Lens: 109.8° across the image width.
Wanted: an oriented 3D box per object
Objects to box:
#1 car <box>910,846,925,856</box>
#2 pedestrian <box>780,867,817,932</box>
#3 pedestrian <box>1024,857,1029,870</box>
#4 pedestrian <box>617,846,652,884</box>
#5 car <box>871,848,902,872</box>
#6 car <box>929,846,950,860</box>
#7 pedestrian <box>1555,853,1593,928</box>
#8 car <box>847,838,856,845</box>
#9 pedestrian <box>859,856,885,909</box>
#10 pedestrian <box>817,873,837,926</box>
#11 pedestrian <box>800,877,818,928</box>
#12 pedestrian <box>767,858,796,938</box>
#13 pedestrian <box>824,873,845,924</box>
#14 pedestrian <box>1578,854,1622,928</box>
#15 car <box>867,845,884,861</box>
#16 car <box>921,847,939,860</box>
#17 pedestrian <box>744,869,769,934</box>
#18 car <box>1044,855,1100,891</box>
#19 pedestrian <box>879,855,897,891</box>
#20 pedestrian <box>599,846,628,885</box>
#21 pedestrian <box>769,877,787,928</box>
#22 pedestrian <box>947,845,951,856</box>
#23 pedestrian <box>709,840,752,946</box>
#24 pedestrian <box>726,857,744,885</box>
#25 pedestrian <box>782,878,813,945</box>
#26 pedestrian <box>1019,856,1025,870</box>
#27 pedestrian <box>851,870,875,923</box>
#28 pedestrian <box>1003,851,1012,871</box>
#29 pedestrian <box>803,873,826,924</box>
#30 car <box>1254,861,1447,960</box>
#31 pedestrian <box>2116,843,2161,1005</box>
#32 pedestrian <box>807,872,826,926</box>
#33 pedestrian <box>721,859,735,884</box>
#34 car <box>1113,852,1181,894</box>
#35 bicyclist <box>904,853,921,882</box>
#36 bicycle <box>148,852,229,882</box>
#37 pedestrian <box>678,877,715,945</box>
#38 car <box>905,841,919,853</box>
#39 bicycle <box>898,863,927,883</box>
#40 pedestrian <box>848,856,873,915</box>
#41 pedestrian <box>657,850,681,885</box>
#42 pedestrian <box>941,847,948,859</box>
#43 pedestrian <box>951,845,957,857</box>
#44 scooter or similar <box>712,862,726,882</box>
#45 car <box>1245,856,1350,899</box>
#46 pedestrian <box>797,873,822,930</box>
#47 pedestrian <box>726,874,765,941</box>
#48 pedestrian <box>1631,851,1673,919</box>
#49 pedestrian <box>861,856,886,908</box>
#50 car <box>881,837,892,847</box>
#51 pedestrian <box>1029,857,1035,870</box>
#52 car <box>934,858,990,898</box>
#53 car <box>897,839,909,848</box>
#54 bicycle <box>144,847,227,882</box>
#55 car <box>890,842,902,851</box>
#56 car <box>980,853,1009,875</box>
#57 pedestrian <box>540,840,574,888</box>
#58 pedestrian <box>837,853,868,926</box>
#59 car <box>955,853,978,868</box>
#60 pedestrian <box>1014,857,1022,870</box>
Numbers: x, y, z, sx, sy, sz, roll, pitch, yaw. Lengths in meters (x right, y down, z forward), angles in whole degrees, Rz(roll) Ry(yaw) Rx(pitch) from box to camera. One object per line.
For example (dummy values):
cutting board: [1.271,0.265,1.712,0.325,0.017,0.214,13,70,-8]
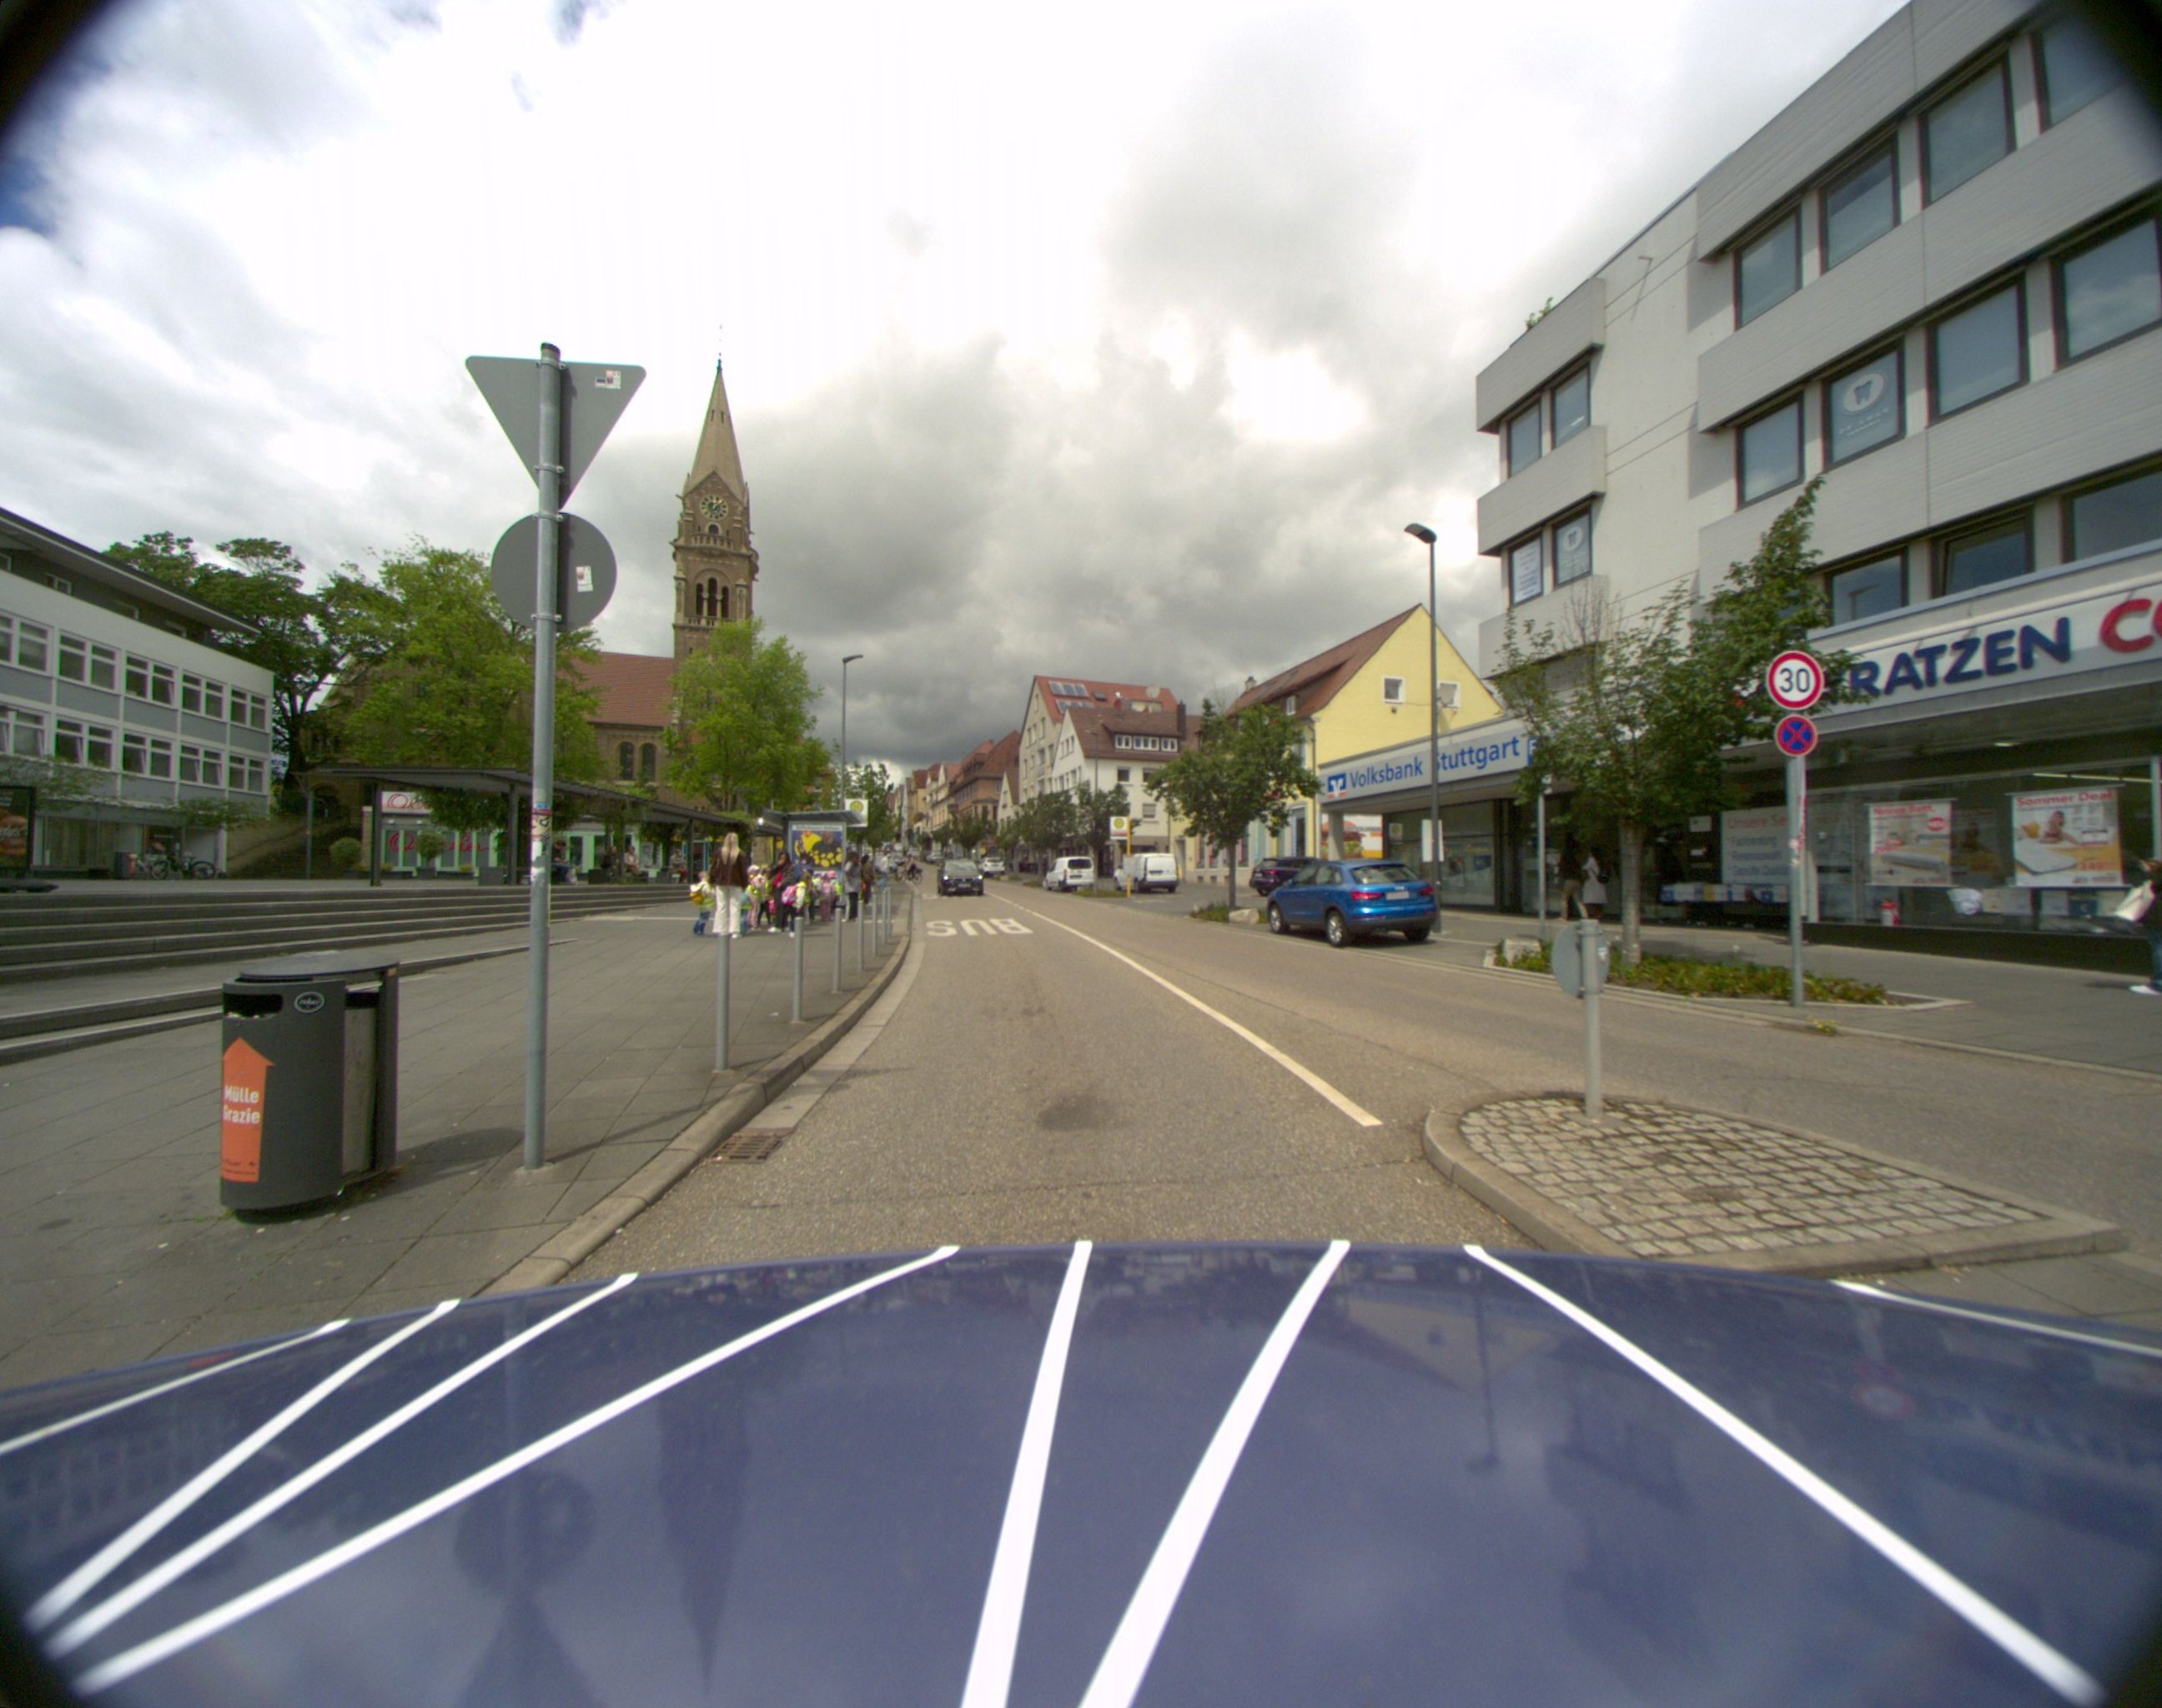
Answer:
car: [-24.203,-0.431,112.477,1.735,1.423,3.496,0,2,-19]
pedestrian: [-5.811,0.924,15.626,0.597,1.296,0.434,3,1,44]
pedestrian: [-5.083,0.858,70.773,0.396,1.242,0.499,-1,1,-18]
pedestrian: [-14.874,0.361,25.326,0.769,1.261,0.677,0,0,25]
car: [-15.041,0.449,58.644,1.936,1.714,4.565,1,0,-19]
car: [-17.253,-0.093,92.557,1.732,1.564,4.446,0,2,-20]
pedestrian: [10.580,0.775,16.326,0.643,1.557,0.588,1,0,33]
car: [-46.867,-2.507,155.303,1.693,1.366,3.522,1,2,-19]
pedestrian: [-6.164,0.823,22.400,0.542,1.540,0.487,1,0,31]
pedestrian: [-5.668,1.017,16.954,0.270,1.154,0.265,2,0,36]
pedestrian: [-5.853,1.043,16.357,0.252,1.062,0.251,2,0,4]
pedestrian: [-5.751,0.839,14.607,0.391,1.508,0.389,2,0,-6]
pedestrian: [-5.609,1.013,17.300,0.297,1.145,0.294,2,0,29]
pedestrian: [11.272,0.796,16.511,0.512,1.557,0.586,1,0,-12]
car: [-24.626,-0.137,91.193,1.892,1.837,5.022,1,1,-14]
car: [-19.819,-0.117,99.451,1.671,1.518,3.955,-2,2,-20]
pedestrian: [-6.330,0.922,14.827,0.324,1.230,0.334,3,0,-9]
car: [-0.520,0.898,38.189,1.663,1.662,4.344,-1,0,-16]
pedestrian: [-8.992,0.887,35.420,0.686,1.672,0.714,1,0,-2]
pedestrian: [-15.016,0.374,24.399,0.569,1.220,0.566,0,0,-3]
pedestrian: [-6.391,1.026,16.038,0.251,1.062,0.252,2,0,-2]
pedestrian: [-17.202,-0.431,99.159,0.498,1.469,0.527,0,2,-20]
pedestrian: [-6.131,0.679,13.300,0.541,1.812,0.435,2,0,-13]
pedestrian: [-15.642,0.771,34.378,0.570,1.254,0.541,1,-2,-9]
pedestrian: [-5.130,1.036,13.756,0.477,1.165,0.390,2,0,-22]
pedestrian: [-5.333,0.818,69.114,0.423,1.292,0.453,-1,1,-18]
pedestrian: [-5.124,1.001,17.875,0.403,1.219,0.388,1,0,9]
pedestrian: [-6.616,0.589,68.019,0.662,1.751,0.776,0,2,-17]
pedestrian: [-6.013,1.001,17.155,0.321,1.145,0.319,2,0,38]
car: [5.204,0.999,15.382,1.700,1.590,4.327,-3,1,-11]
pedestrian: [10.847,0.685,7.453,0.589,1.579,0.638,-1,1,-12]
pedestrian: [-5.815,0.980,16.676,0.250,1.167,0.253,2,0,35]
pedestrian: [-15.663,0.789,33.725,0.477,1.082,0.368,1,-2,-9]
car: [3.031,0.842,35.912,1.763,1.803,4.470,-1,1,-15]
bicyclist: [-10.353,0.838,46.669,0.508,1.684,0.780,0,-4,42]
bicycle: [-36.163,0.524,30.828,0.686,1.135,2.032,1,-3,44]
pedestrian: [-6.647,0.981,13.150,0.440,1.141,0.382,2,0,-9]
car: [-26.518,-1.114,119.366,1.735,1.670,3.984,0,2,-19]
bicycle: [-10.354,1.184,46.685,0.412,1.081,1.658,7,1,43]
pedestrian: [-5.886,0.828,20.279,0.502,1.557,0.496,1,0,-33]
pedestrian: [-15.484,0.493,28.586,0.626,1.300,0.545,1,0,-9]
pedestrian: [-18.061,-0.148,100.466,0.874,1.657,0.904,0,2,-20]
pedestrian: [-16.539,-0.401,99.191,0.616,1.573,0.641,0,2,-20]
scooter or similar: [-15.786,0.793,33.111,0.249,0.888,0.508,0,-2,18]
car: [8.517,0.892,29.916,3.641,1.549,1.666,-1,1,-14]
pedestrian: [-5.725,1.000,16.029,0.336,1.160,0.350,2,1,-44]
pedestrian: [-6.134,0.966,13.905,0.390,1.191,0.511,2,0,12]
pedestrian: [14.515,0.797,19.322,0.646,1.694,0.585,1,-2,-23]
pedestrian: [-6.253,0.830,22.917,0.513,1.540,0.488,1,0,13]
car: [-35.322,-2.188,137.761,1.753,1.792,4.204,2,1,-17]
pedestrian: [-4.509,0.870,69.456,0.428,1.242,0.566,-1,1,-18]
car: [-5.393,1.014,34.059,1.897,1.516,3.728,-1,2,-18]
car: [-31.893,-1.933,136.019,1.693,1.516,3.522,1,2,-19]
bicycle: [-35.228,0.421,29.929,0.686,1.299,2.032,1,-2,44]
car: [-29.122,-1.235,119.763,1.613,1.380,3.623,2,0,-17]
car: [-7.020,0.799,61.539,1.672,1.637,4.127,-1,1,-16]
pedestrian: [-14.636,0.280,21.247,0.569,1.316,0.545,0,0,-3]
pedestrian: [-5.163,0.791,17.181,0.387,1.610,0.470,2,0,35]
car: [-11.624,0.645,77.070,1.663,1.384,4.435,0,2,-17]
pedestrian: [-5.882,0.881,70.828,0.552,1.260,0.598,-1,2,-18]
